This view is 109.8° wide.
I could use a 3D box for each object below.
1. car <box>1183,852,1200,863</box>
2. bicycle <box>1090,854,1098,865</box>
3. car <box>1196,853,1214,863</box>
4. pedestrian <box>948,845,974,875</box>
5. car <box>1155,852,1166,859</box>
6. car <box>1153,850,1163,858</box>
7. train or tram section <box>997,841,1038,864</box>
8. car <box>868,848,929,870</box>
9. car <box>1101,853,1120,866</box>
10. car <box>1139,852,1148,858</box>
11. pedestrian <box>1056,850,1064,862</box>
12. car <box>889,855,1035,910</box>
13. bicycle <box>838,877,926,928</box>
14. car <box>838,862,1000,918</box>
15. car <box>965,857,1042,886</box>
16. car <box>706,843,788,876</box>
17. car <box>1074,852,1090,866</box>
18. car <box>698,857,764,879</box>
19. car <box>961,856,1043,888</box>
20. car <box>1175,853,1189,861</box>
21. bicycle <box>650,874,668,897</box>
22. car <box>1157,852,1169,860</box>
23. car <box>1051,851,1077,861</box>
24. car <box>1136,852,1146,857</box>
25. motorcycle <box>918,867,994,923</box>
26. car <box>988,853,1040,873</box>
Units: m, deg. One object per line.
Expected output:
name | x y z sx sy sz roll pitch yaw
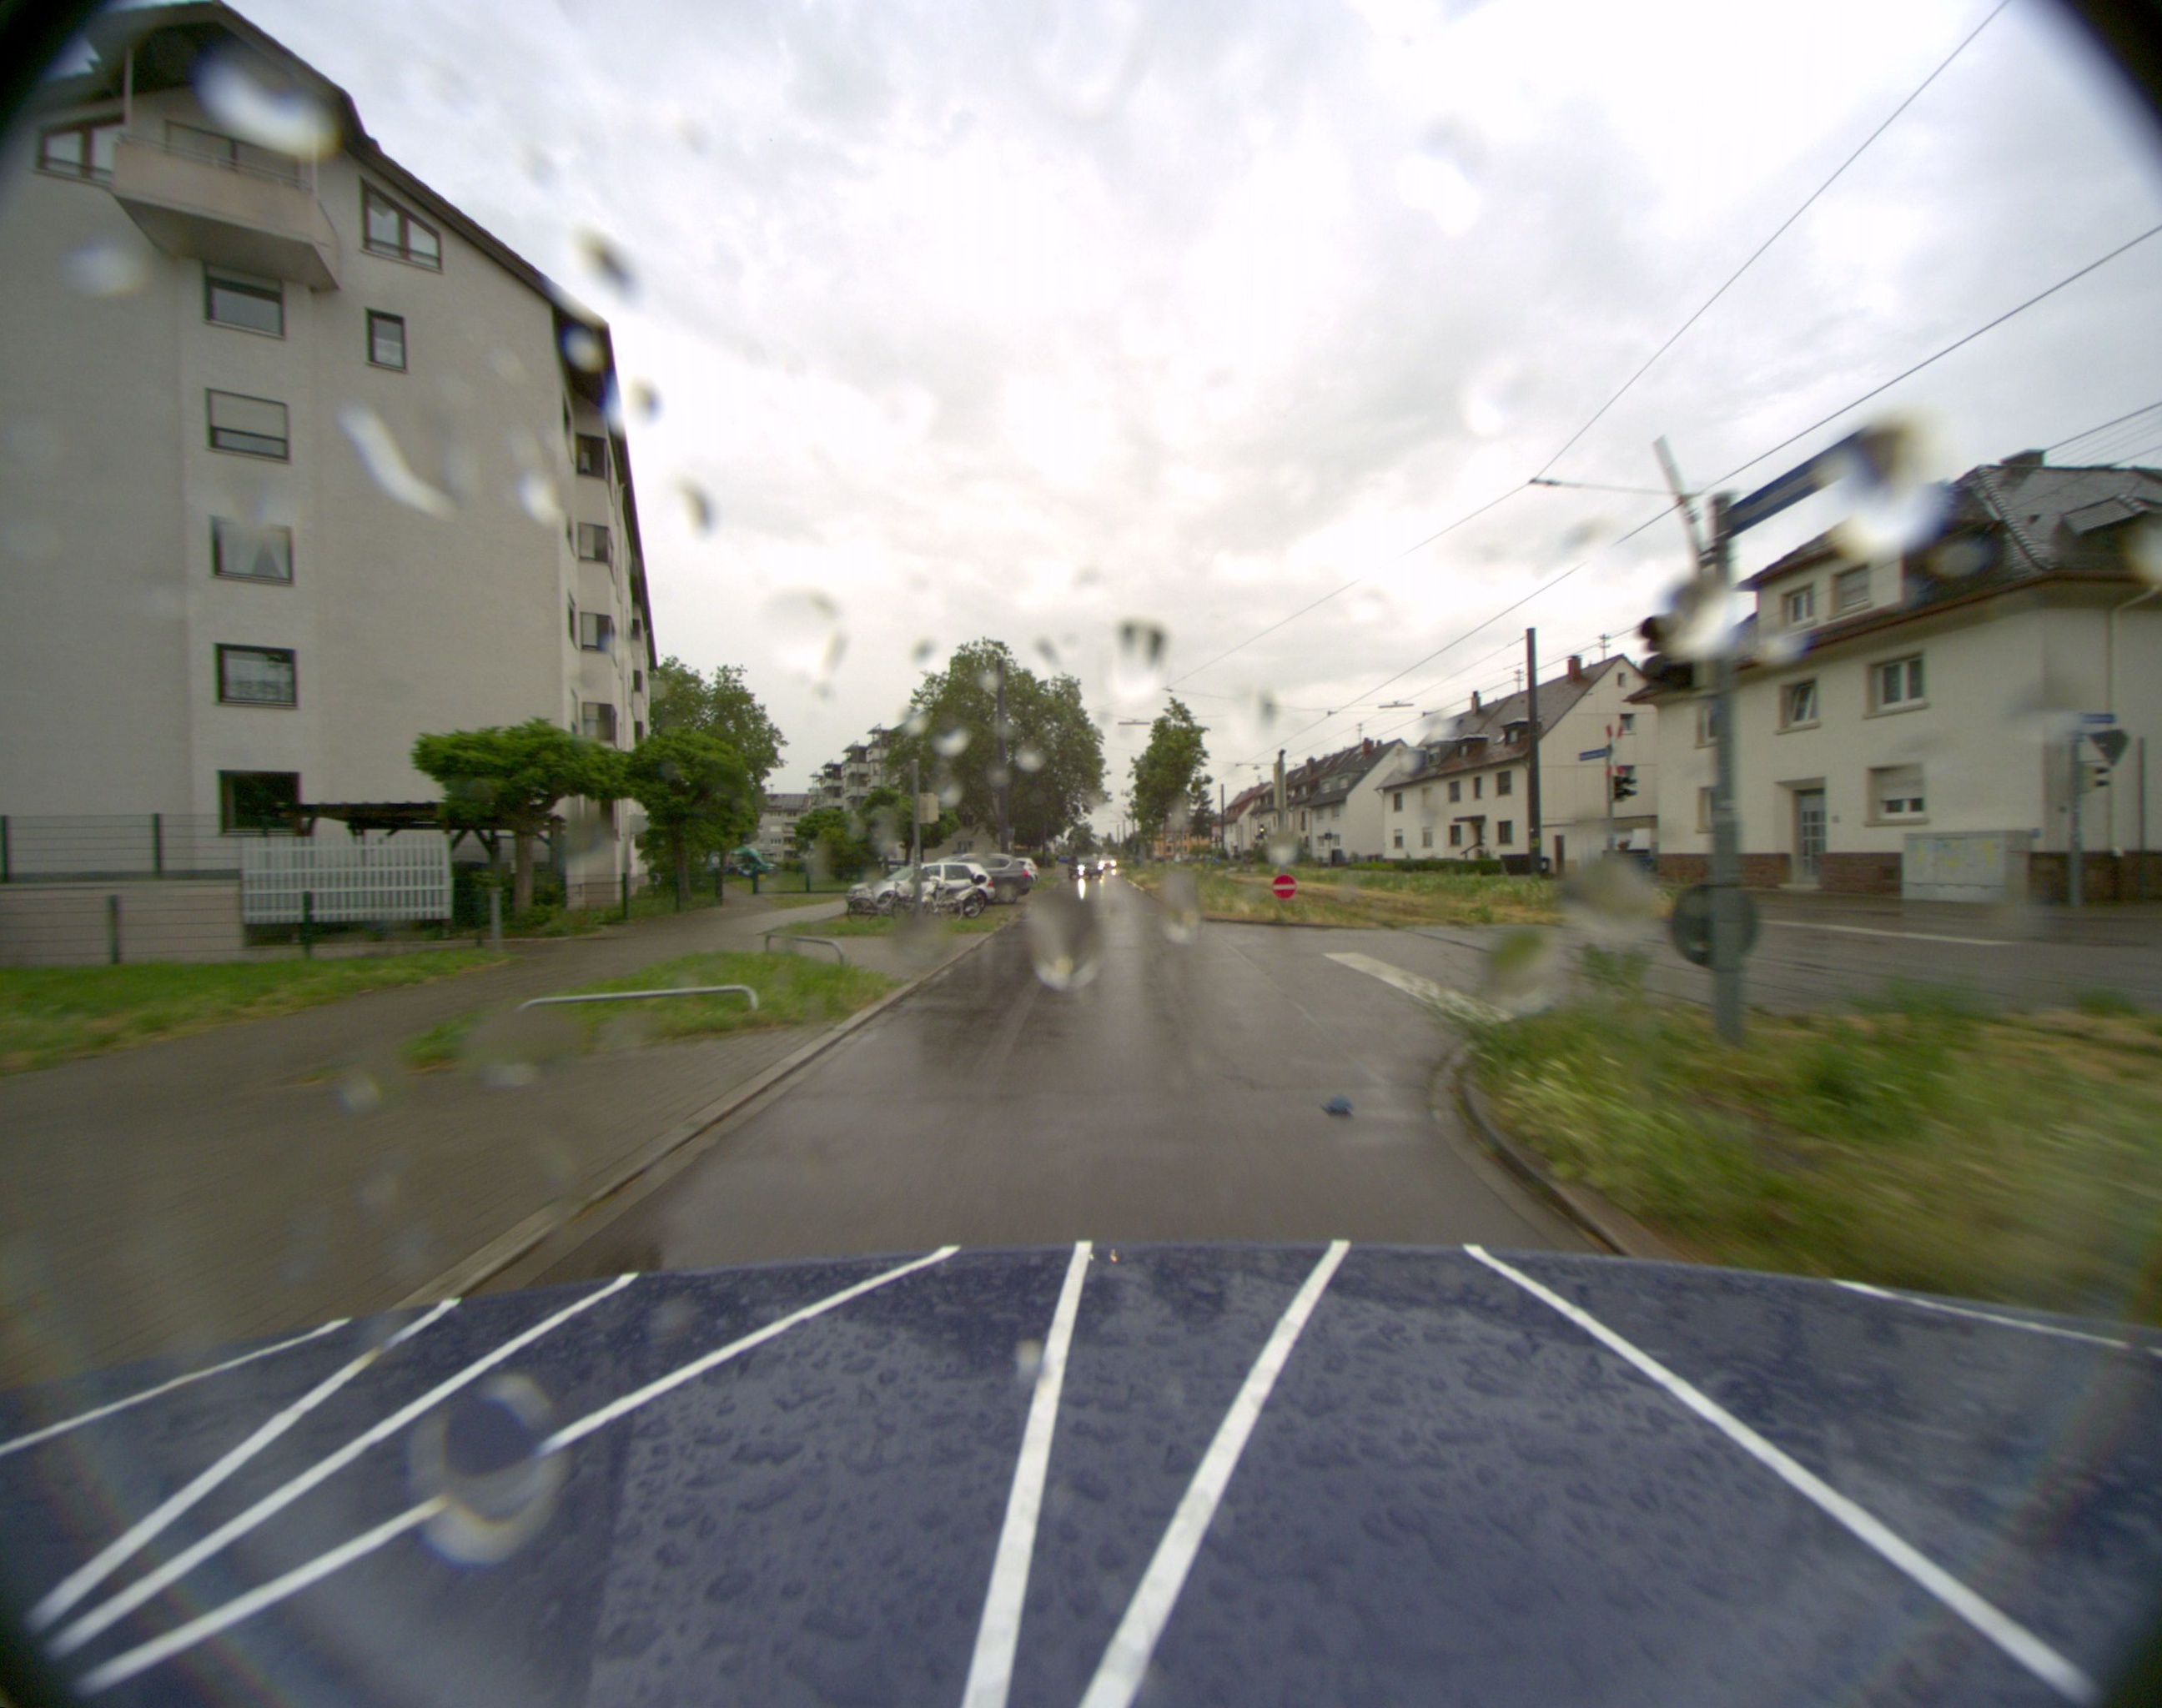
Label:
car | 16.651 0.537 114.624 1.891 1.523 4.756 0 0 -1
bicycle | 1.299 0.563 74.981 0.710 1.031 2.098 -3 1 -1
car | 16.543 0.523 101.887 1.777 1.417 3.937 0 0 0
pedestrian | -7.272 0.362 45.987 1.101 1.803 1.435 -1 0 11
car | 16.563 0.355 158.197 1.881 1.520 4.000 0 0 0
car | 16.935 0.002 167.098 1.998 1.648 4.000 -2 0 2
train or tram section | -9.661 -0.219 114.547 2.763 3.320 6.382 -1 1 -44
car | -14.377 0.379 60.025 4.303 1.671 1.871 0 1 3
car | 3.211 0.593 84.453 1.854 1.500 4.120 0 0 -1
car | 15.678 0.291 191.338 1.885 1.423 4.076 0 0 -2
pedestrian | -3.212 0.253 114.663 0.866 1.764 1.017 -1 1 -24
car | -3.869 0.871 24.998 4.357 1.641 1.853 -1 0 -31
bicycle | -4.696 1.116 18.031 1.961 1.095 0.627 0 0 -44
car | -4.514 0.950 21.399 4.133 1.414 1.734 0 0 -35
car | -4.431 0.942 43.461 4.007 1.499 1.779 0 2 -34
car | -28.878 0.449 65.828 6.133 2.762 2.188 -1 0 3
car | 0.113 0.597 92.748 1.905 1.566 4.111 0 0 -2
car | -27.738 1.111 60.278 4.303 1.497 1.937 -3 1 3
car | -4.178 0.918 40.282 4.008 1.499 1.700 -1 2 -38
car | 16.683 0.484 125.805 1.715 1.432 3.999 0 0 -1
bicycle | -16.904 1.252 30.438 0.491 0.843 1.569 -1 0 -24
car | 16.545 0.334 153.515 1.912 1.581 4.000 0 0 0
car | -2.742 0.259 122.518 4.007 1.518 1.715 -1 1 -33
car | 15.730 0.126 200.063 2.096 1.423 4.076 0 0 -2
motorcycle | -3.153 1.009 19.294 1.783 1.329 0.687 0 0 -35
car | -5.730 0.750 64.715 4.123 1.500 1.852 -2 0 -17
